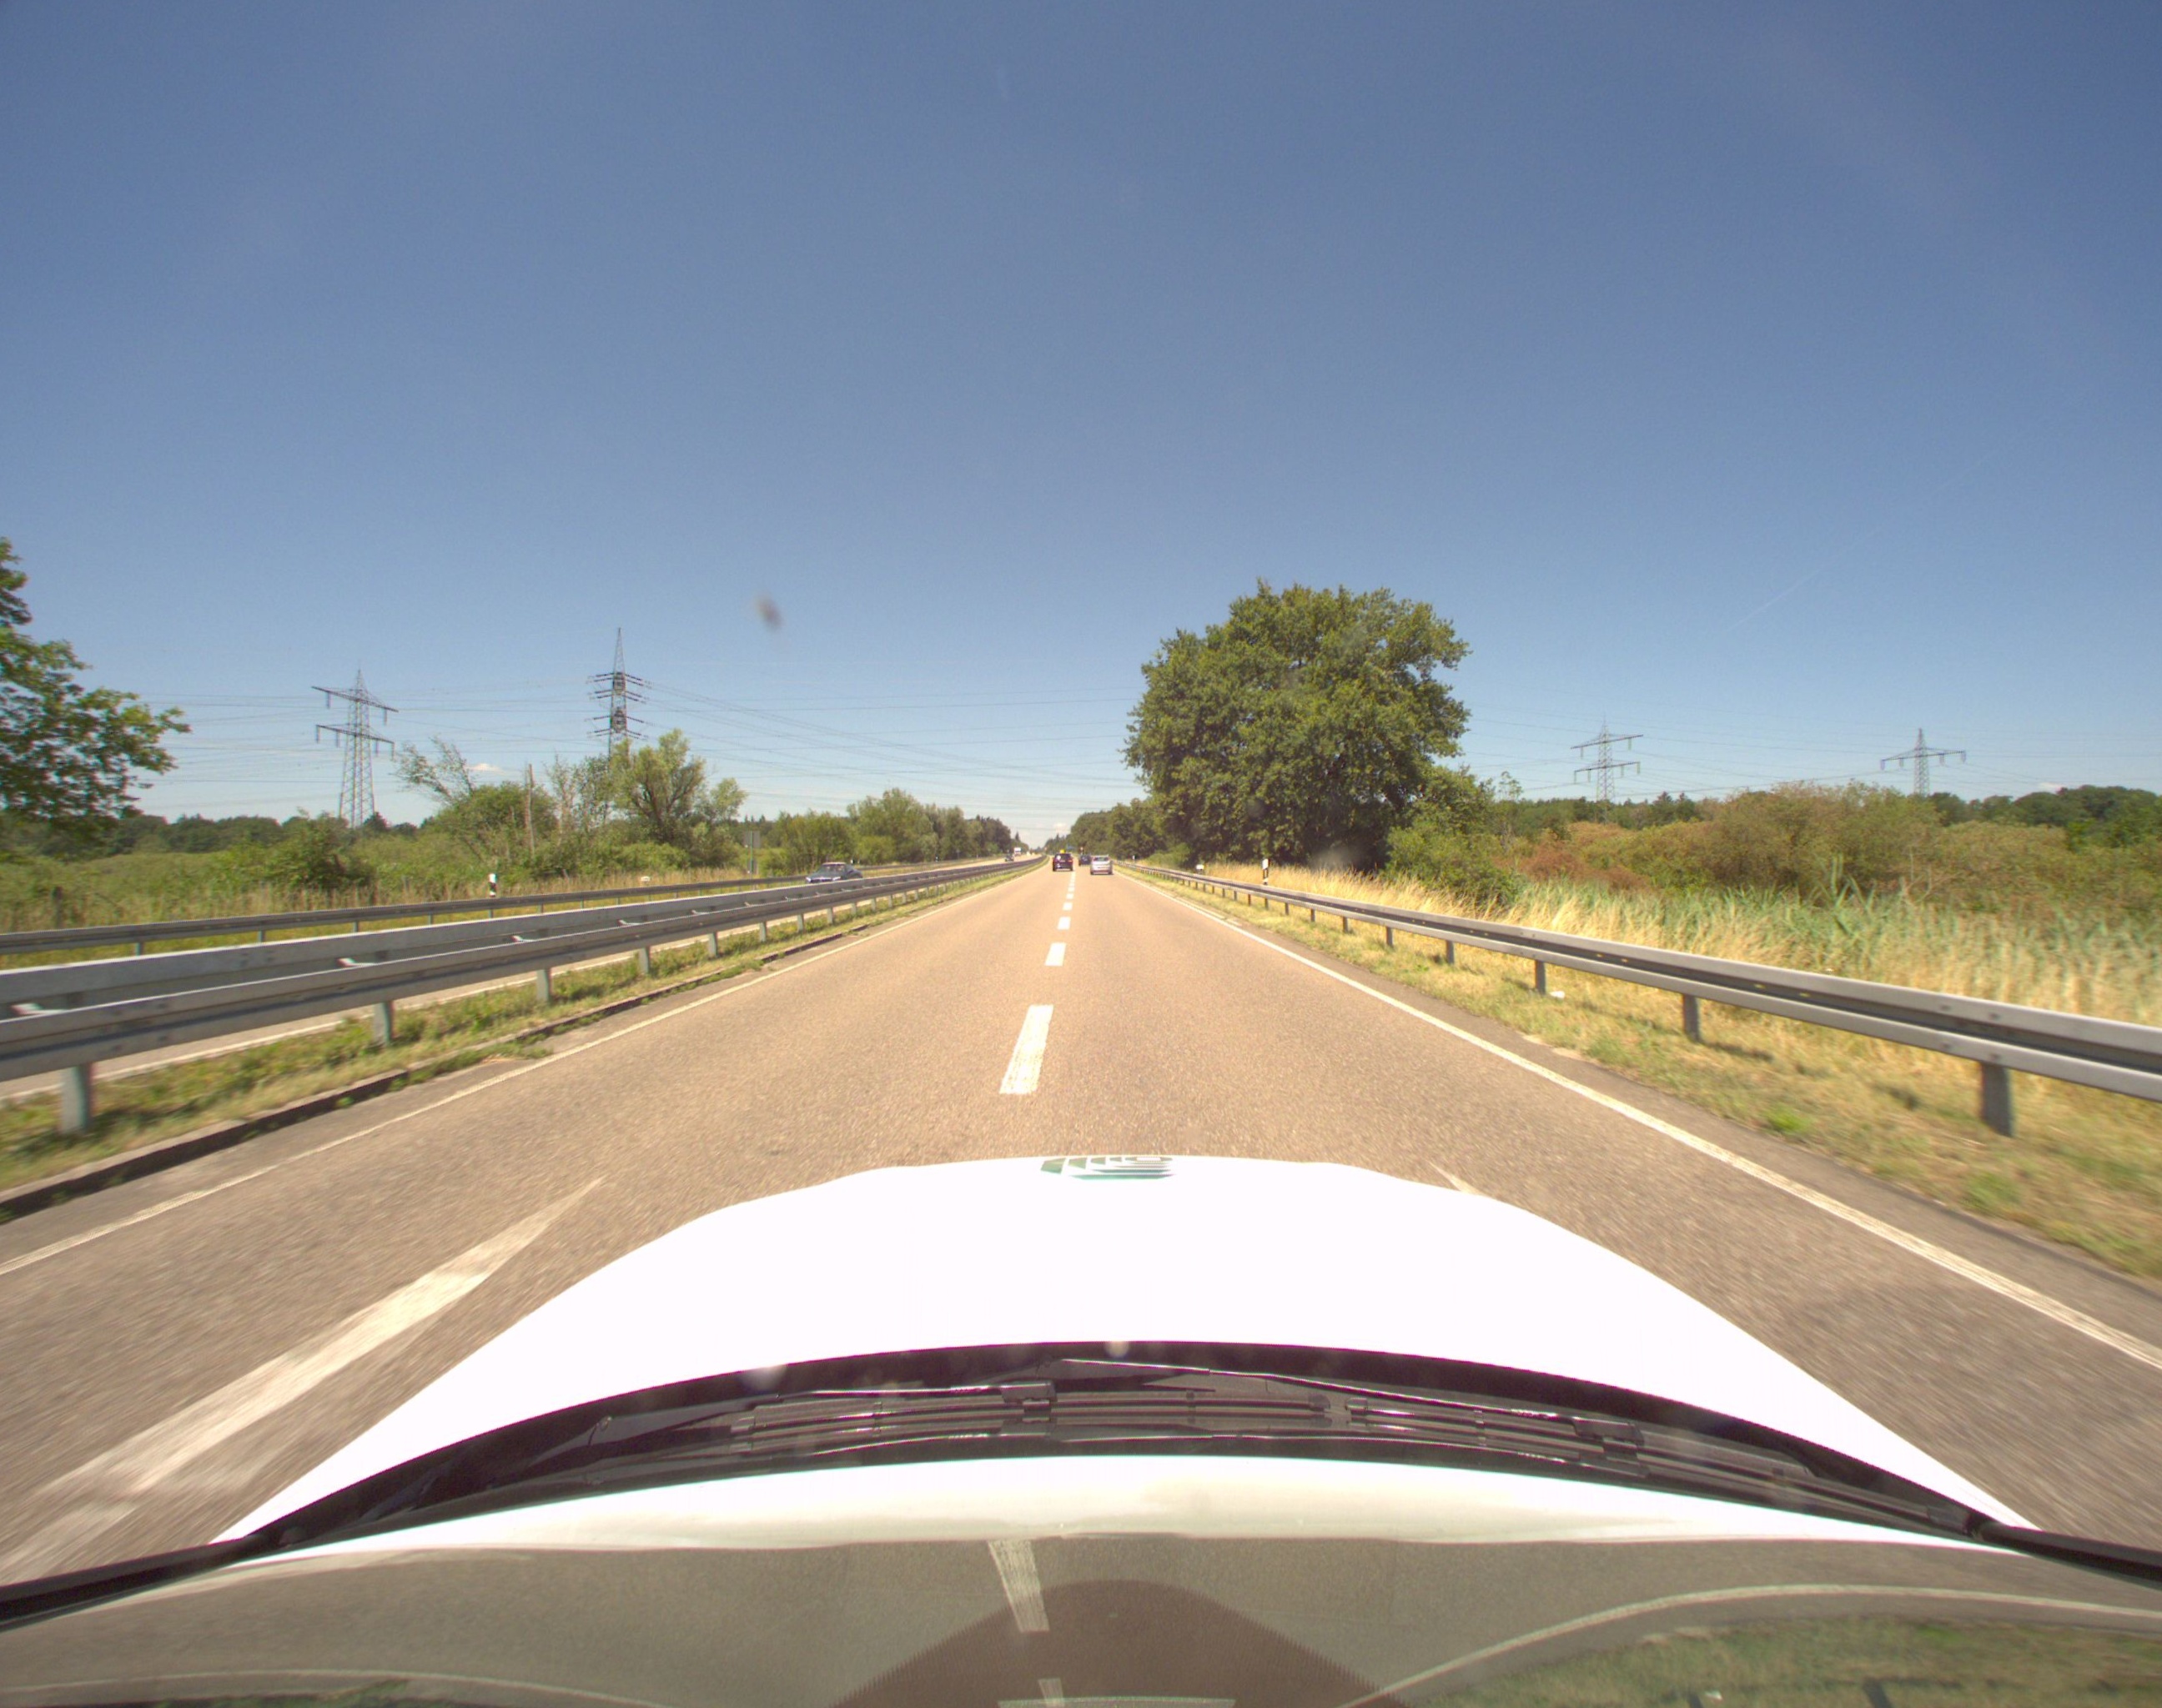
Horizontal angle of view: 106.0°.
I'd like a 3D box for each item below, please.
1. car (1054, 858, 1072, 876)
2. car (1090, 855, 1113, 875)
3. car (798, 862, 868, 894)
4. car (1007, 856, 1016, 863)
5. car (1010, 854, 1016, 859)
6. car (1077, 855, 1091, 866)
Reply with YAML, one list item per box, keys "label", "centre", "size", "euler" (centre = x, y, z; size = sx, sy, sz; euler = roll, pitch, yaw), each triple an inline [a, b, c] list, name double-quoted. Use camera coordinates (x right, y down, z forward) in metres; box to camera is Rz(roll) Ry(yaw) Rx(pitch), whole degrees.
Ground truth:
- label: "car"
  centre: [-1.664, 1.205, 77.296]
  size: [1.635, 1.654, 3.573]
  euler: [1, 0, -1]
- label: "car"
  centre: [1.547, 0.812, 63.094]
  size: [1.635, 1.468, 3.418]
  euler: [1, 0, -1]
- label: "car"
  centre: [-12.067, 1.147, 39.992]
  size: [1.917, 1.385, 4.658]
  euler: [-2, 0, 1]
- label: "car"
  centre: [-14.889, 1.221, 174.585]
  size: [1.841, 1.413, 4.675]
  euler: [-1, 0, -3]
- label: "car"
  centre: [-20.495, 0.706, 244.108]
  size: [1.528, 1.449, 3.699]
  euler: [-1, 0, -1]
- label: "car"
  centre: [0.408, 0.808, 105.320]
  size: [1.634, 1.342, 3.576]
  euler: [1, 0, 2]
